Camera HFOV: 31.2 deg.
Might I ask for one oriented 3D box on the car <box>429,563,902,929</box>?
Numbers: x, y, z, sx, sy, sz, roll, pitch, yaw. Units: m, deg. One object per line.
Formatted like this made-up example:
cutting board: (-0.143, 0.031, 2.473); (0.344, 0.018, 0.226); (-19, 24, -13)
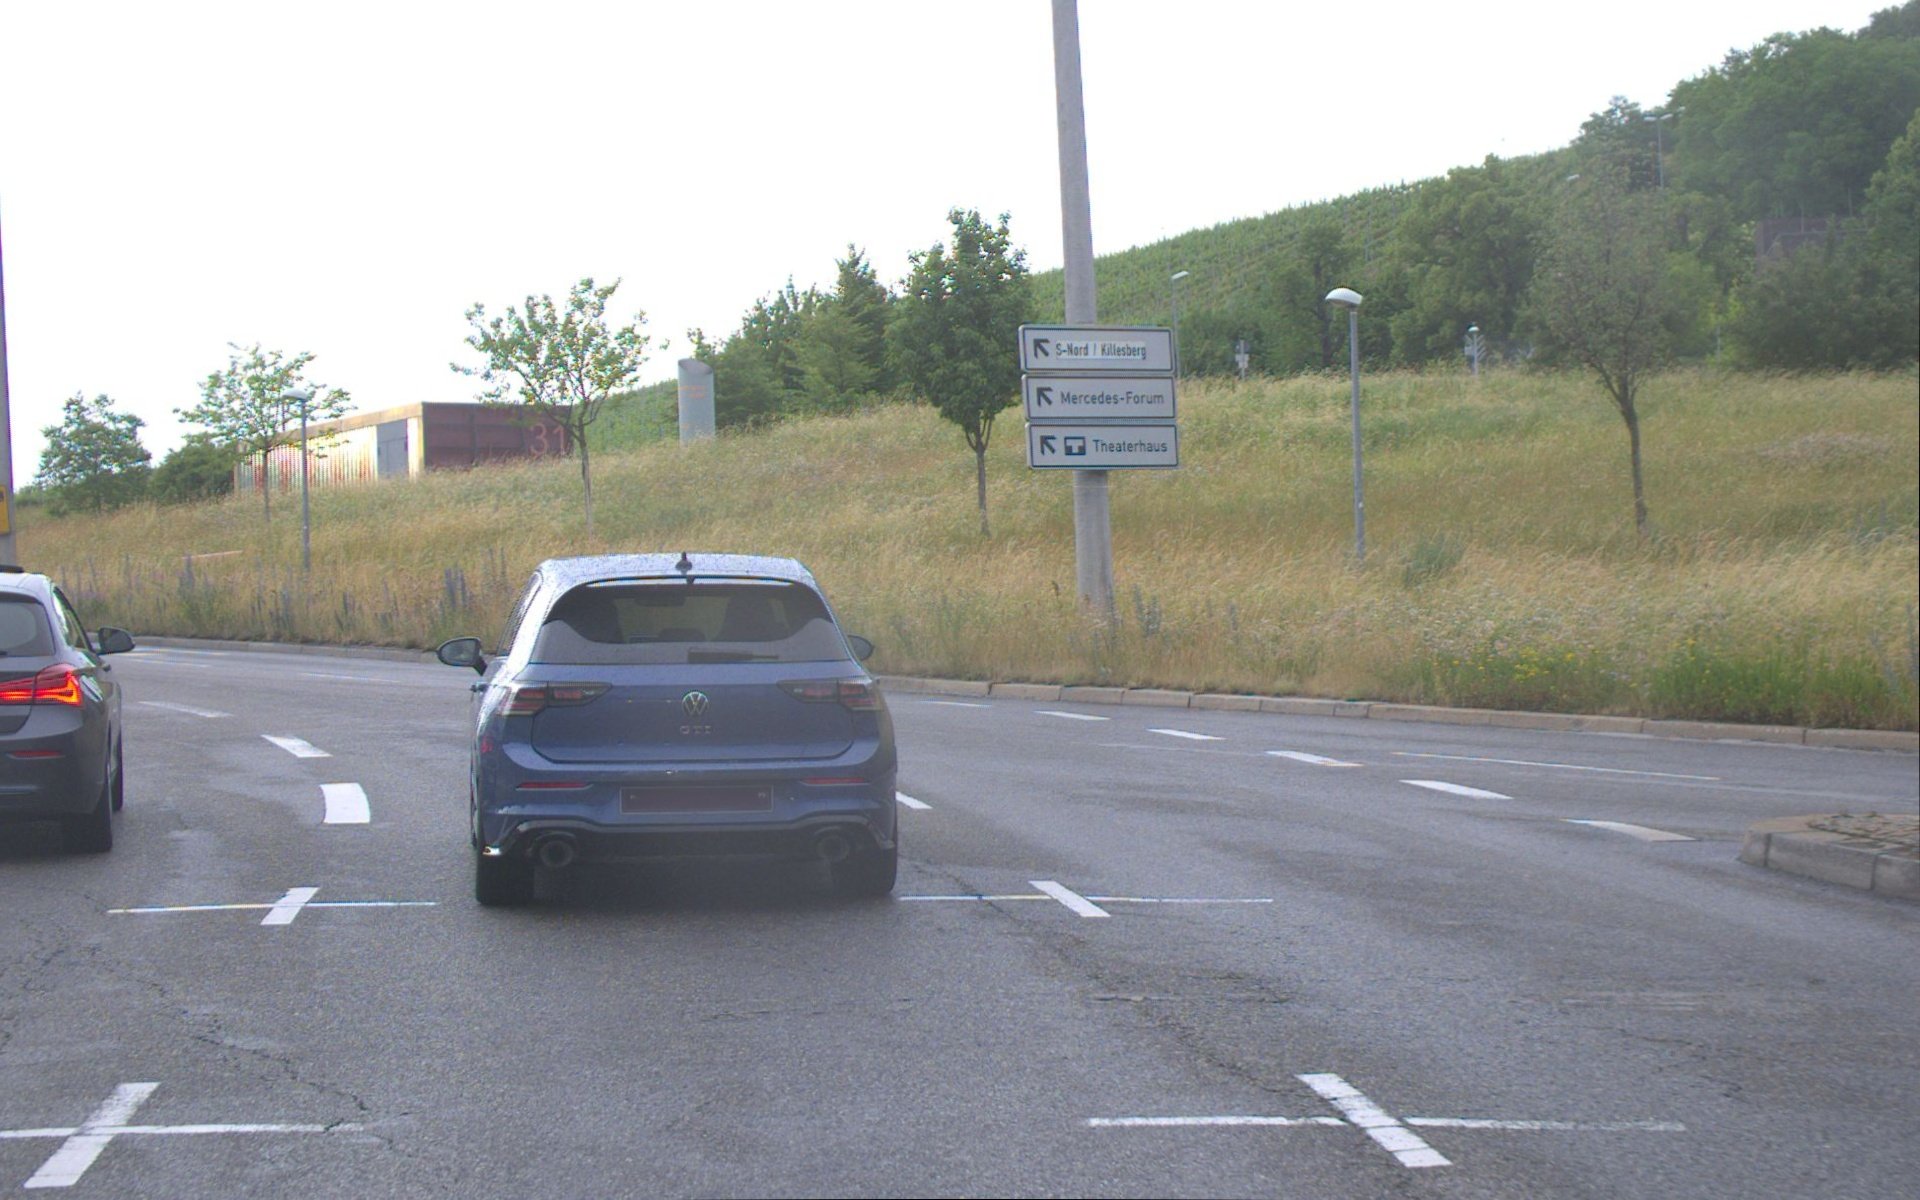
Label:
car: (-1.358, 0.548, 15.510); (1.837, 1.389, 4.001); (-1, 1, -6)

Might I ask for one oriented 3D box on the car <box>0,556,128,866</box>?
car: (-5.373, 0.511, 18.045); (1.868, 1.456, 3.977); (-1, 1, -13)
